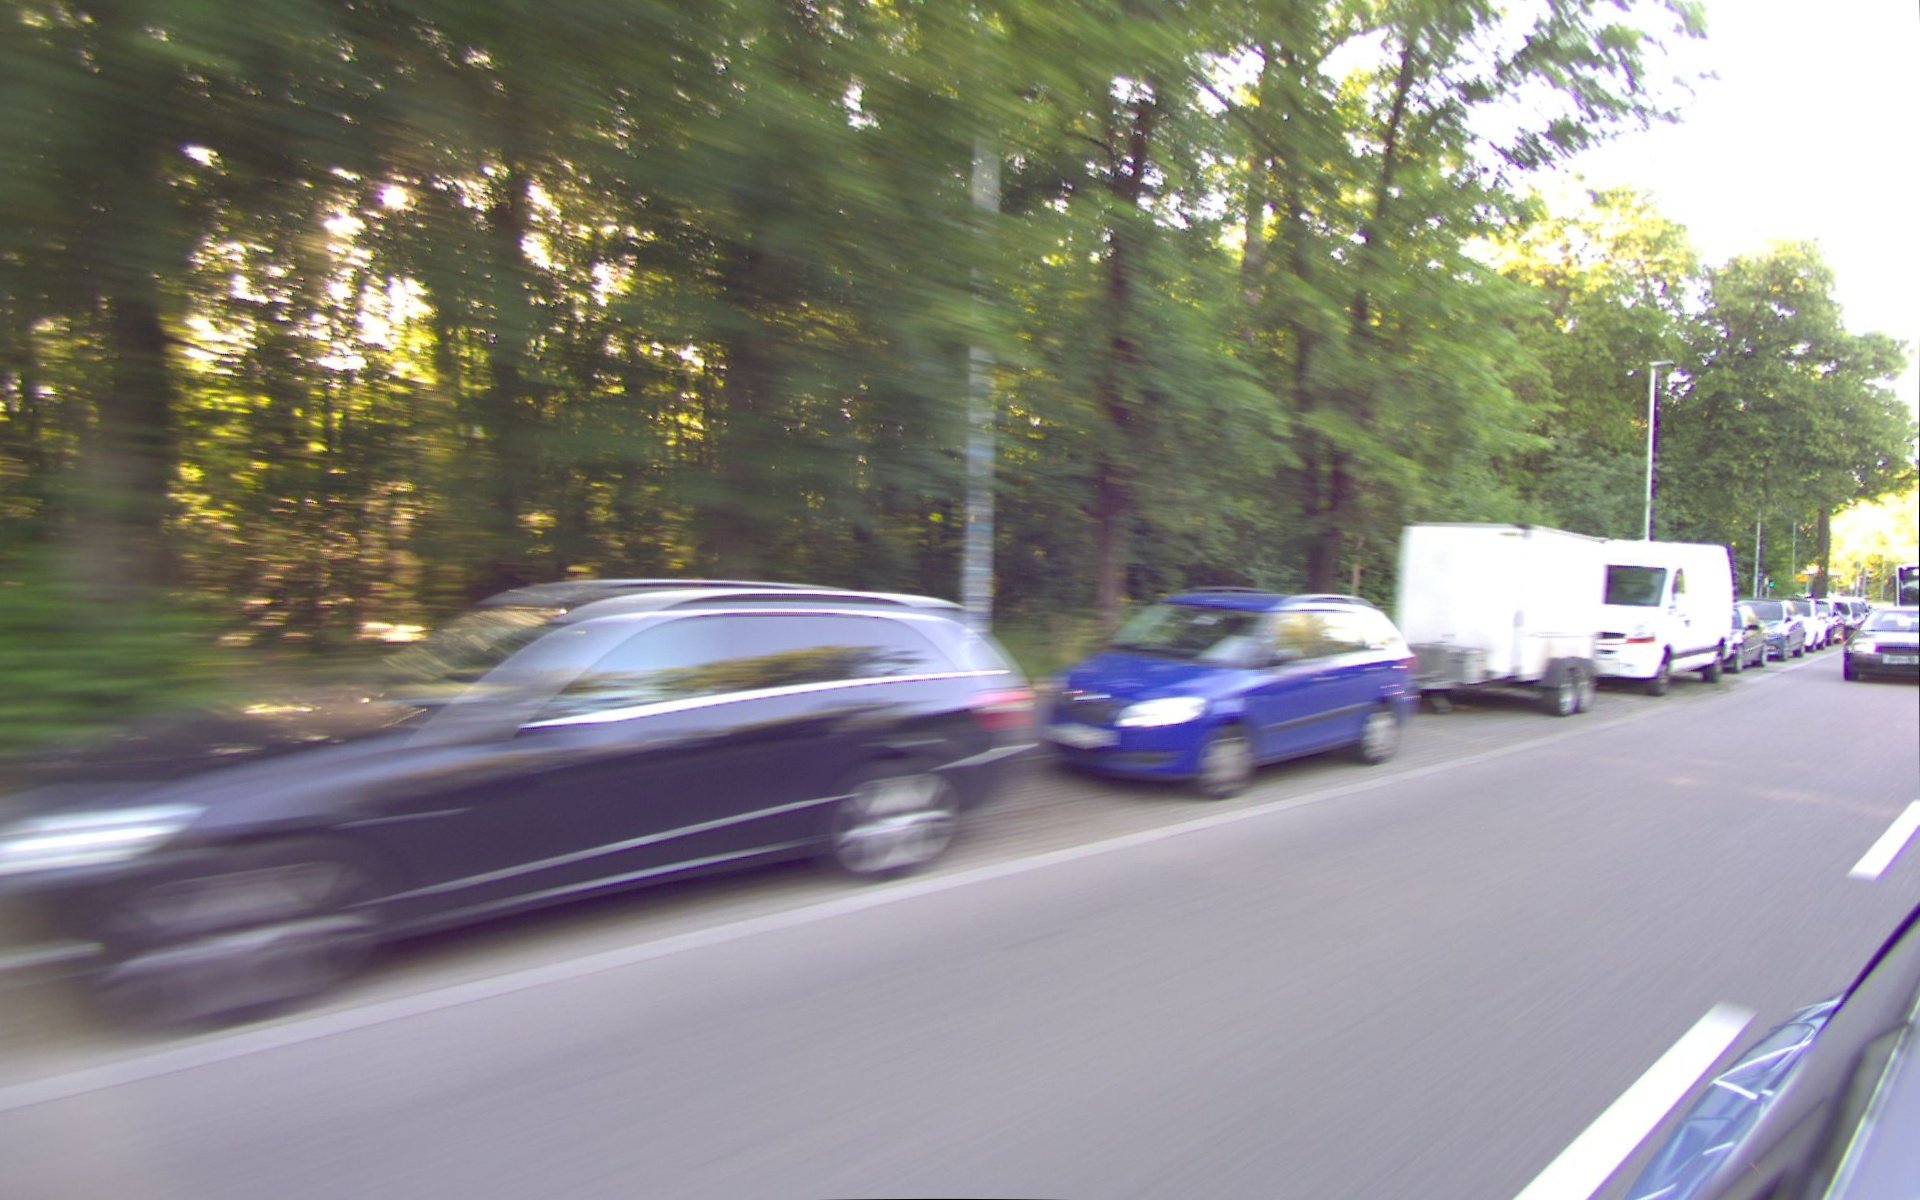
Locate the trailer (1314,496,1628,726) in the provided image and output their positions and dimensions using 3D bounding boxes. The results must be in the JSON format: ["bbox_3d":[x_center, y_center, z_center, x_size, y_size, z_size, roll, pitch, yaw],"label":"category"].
[{"bbox_3d":[6.814,0.053,13.208,5.038,2.453,1.907,-1,3,-42],"label":"trailer"}]

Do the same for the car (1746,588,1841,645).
[{"bbox_3d":[24.373,0.425,29.552,3.628,1.482,1.679,-1,3,-44],"label":"car"}]

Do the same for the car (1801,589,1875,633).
[{"bbox_3d":[32.075,0.361,36.930,1.719,1.429,4.415,3,3,45],"label":"car"}]

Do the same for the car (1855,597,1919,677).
[{"bbox_3d":[18.288,0.642,19.161,3.927,1.376,1.676,-1,1,-43],"label":"car"}]

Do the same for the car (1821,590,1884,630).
[{"bbox_3d":[35.786,0.342,40.559,1.718,1.429,4.417,3,3,43],"label":"car"}]

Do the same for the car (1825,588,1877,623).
[{"bbox_3d":[42.575,0.232,48.327,1.718,1.487,4.137,3,3,43],"label":"car"}]

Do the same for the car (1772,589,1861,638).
[{"bbox_3d":[28.370,0.390,33.452,4.825,1.429,1.720,-1,3,-44],"label":"car"}]

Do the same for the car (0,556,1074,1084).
[{"bbox_3d":[-1.742,0.602,5.136,4.902,1.554,1.762,-1,3,-41],"label":"car"}]

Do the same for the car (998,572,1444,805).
[{"bbox_3d":[2.472,0.560,8.933,4.278,1.554,1.681,-1,3,-41],"label":"car"}]

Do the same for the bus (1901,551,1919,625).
[{"bbox_3d":[45.044,-0.531,46.109,2.806,3.086,12.677,0,1,45],"label":"bus"}]

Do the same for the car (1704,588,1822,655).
[{"bbox_3d":[20.166,0.480,25.361,3.998,1.482,1.680,-1,3,-43],"label":"car"}]

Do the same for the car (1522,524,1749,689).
[{"bbox_3d":[11.853,0.024,17.572,5.480,2.453,1.907,-1,3,-42],"label":"car"}]

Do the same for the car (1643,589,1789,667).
[{"bbox_3d":[16.300,0.522,21.726,4.572,1.418,1.680,-1,3,-43],"label":"car"}]
